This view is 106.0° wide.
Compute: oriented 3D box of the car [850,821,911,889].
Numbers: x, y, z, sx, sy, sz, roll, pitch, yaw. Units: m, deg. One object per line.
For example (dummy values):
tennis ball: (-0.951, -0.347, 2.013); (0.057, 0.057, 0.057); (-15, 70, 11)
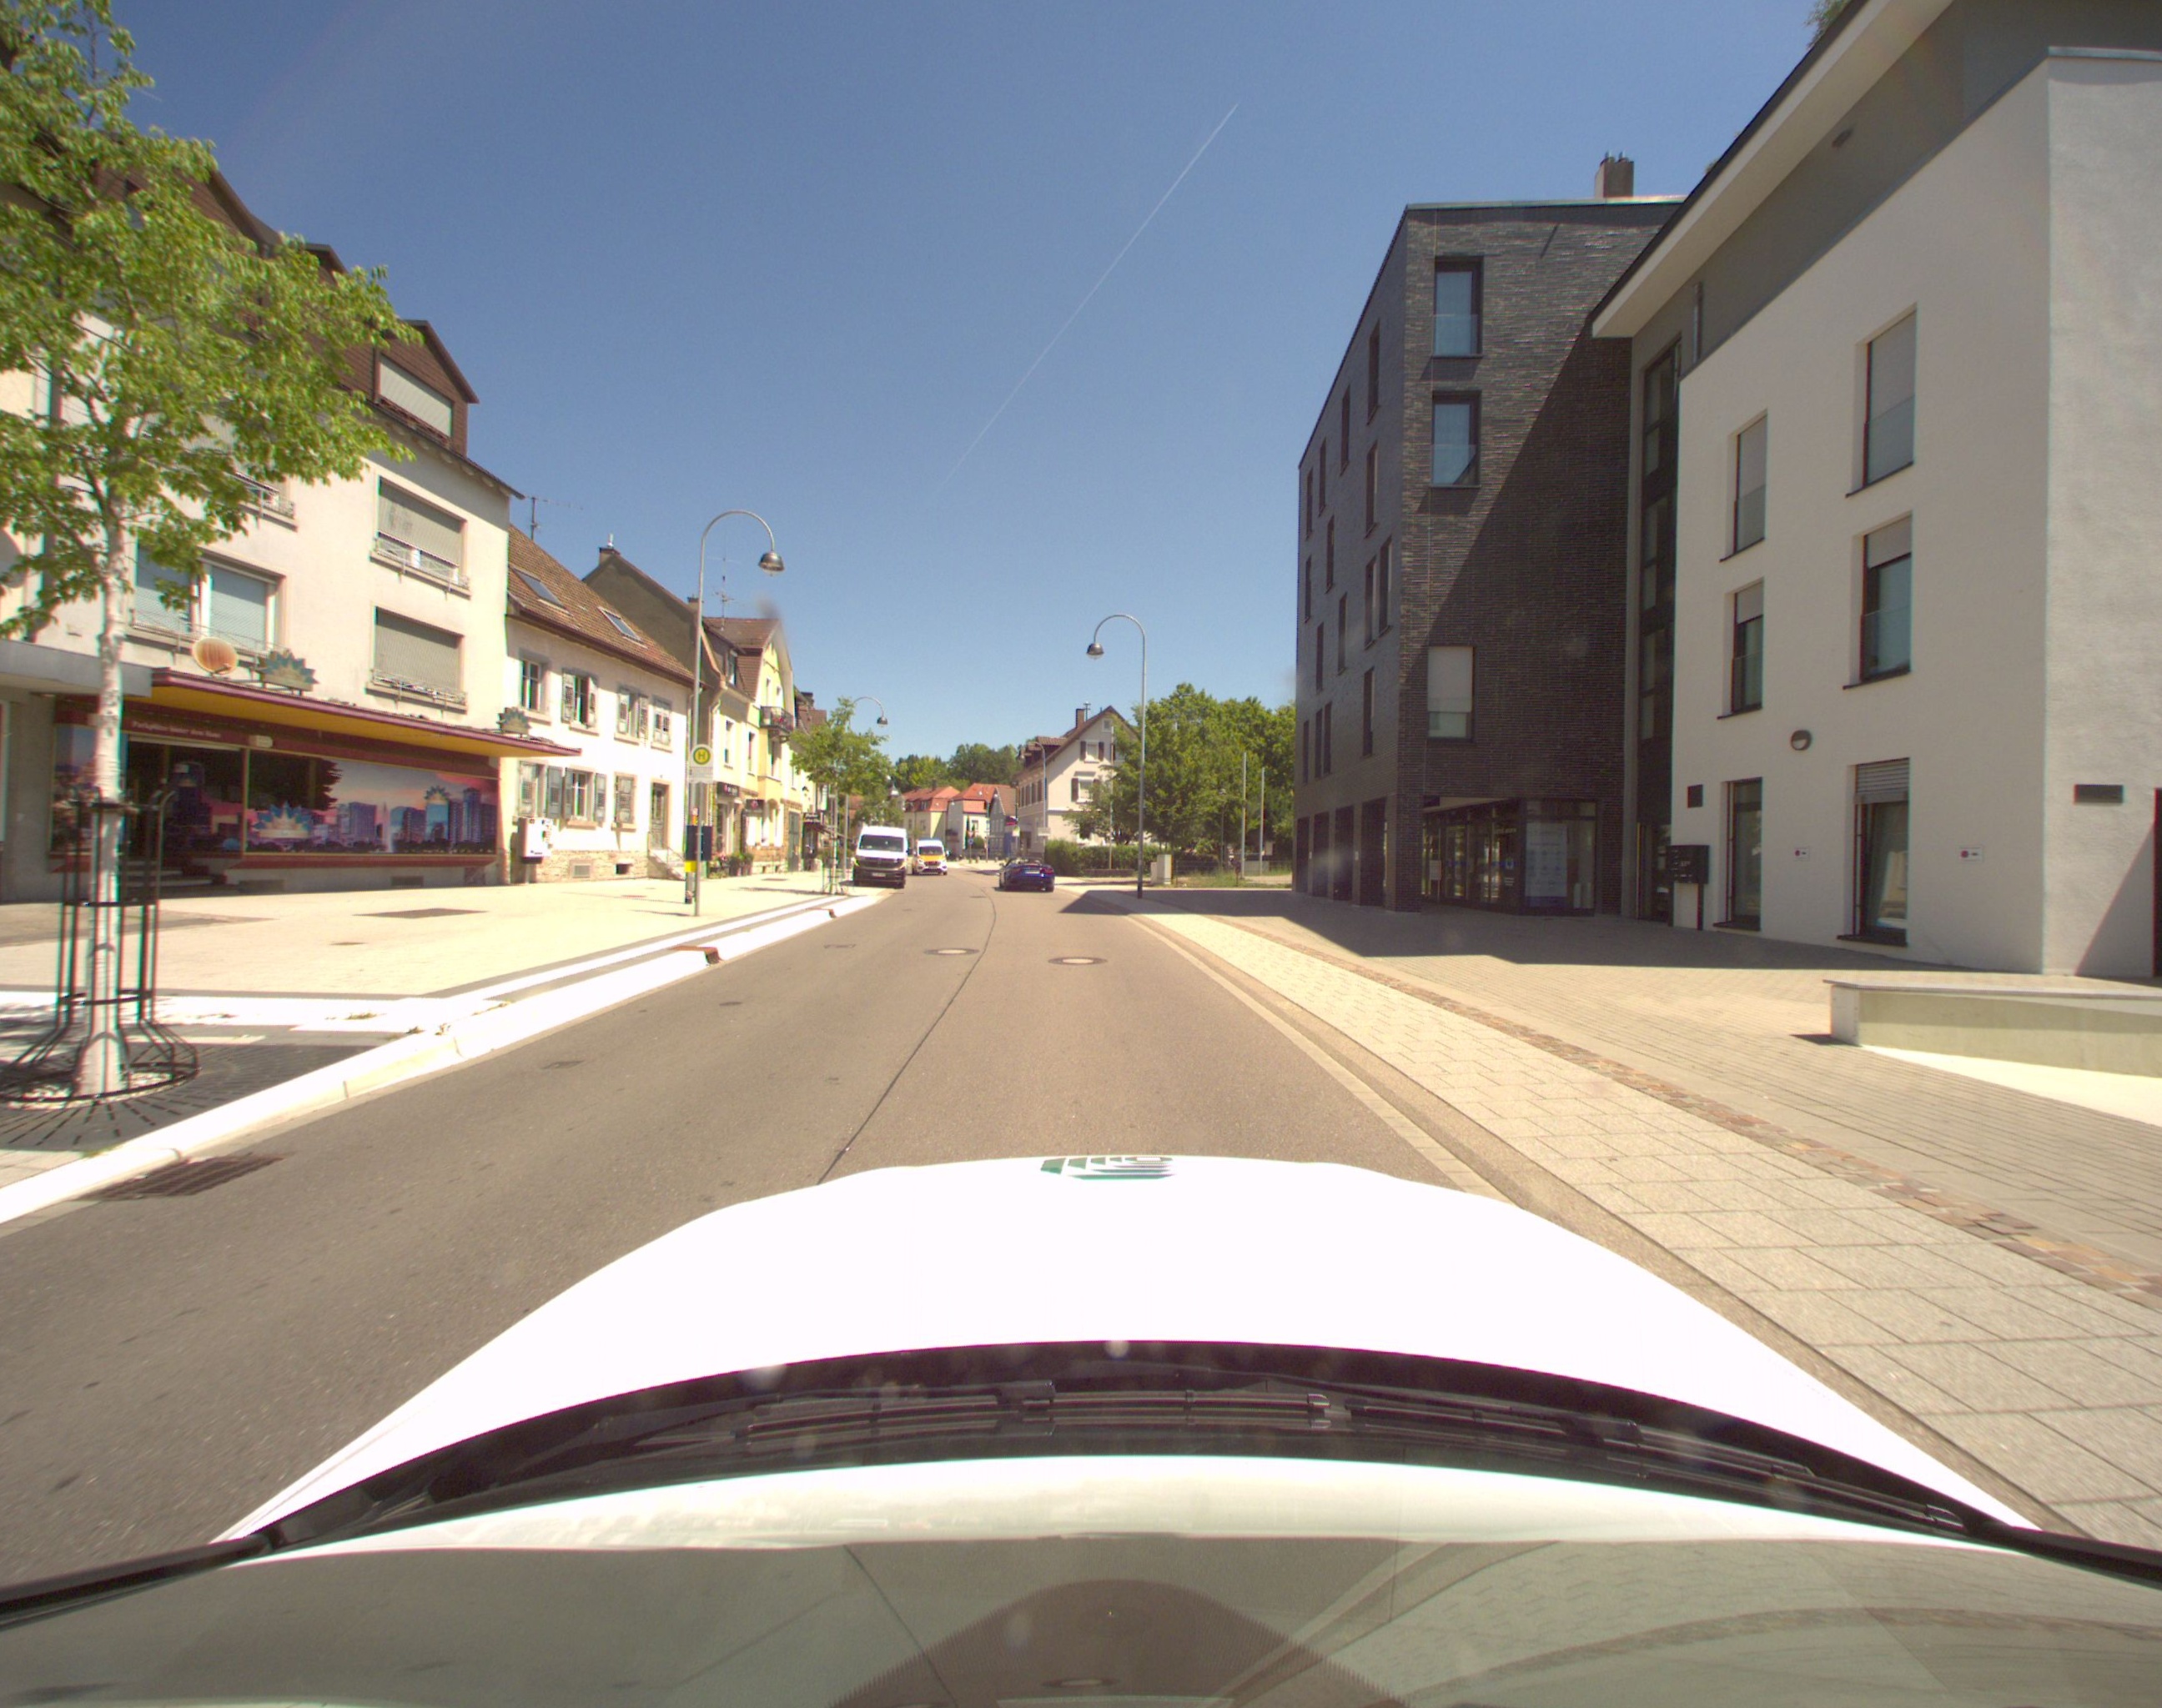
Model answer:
car: (-8.203, 0.037, 33.825); (2.093, 2.498, 5.482); (3, -1, -11)

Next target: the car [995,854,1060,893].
car: (-2.196, 0.729, 32.303); (1.912, 1.360, 4.267); (2, 0, -13)

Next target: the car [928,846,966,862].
car: (-15.427, -0.006, 94.029); (3.969, 1.750, 1.921); (1, 0, 4)

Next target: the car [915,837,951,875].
car: (-9.725, 0.106, 53.163); (2.158, 2.362, 5.225); (0, 0, -12)

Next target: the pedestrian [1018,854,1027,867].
pedestrian: (-4.679, 0.528, 64.639); (0.591, 0.999, 0.720); (0, 0, -15)

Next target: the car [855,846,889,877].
car: (-10.821, 0.402, 42.246); (1.561, 1.521, 3.500); (2, -1, -13)
